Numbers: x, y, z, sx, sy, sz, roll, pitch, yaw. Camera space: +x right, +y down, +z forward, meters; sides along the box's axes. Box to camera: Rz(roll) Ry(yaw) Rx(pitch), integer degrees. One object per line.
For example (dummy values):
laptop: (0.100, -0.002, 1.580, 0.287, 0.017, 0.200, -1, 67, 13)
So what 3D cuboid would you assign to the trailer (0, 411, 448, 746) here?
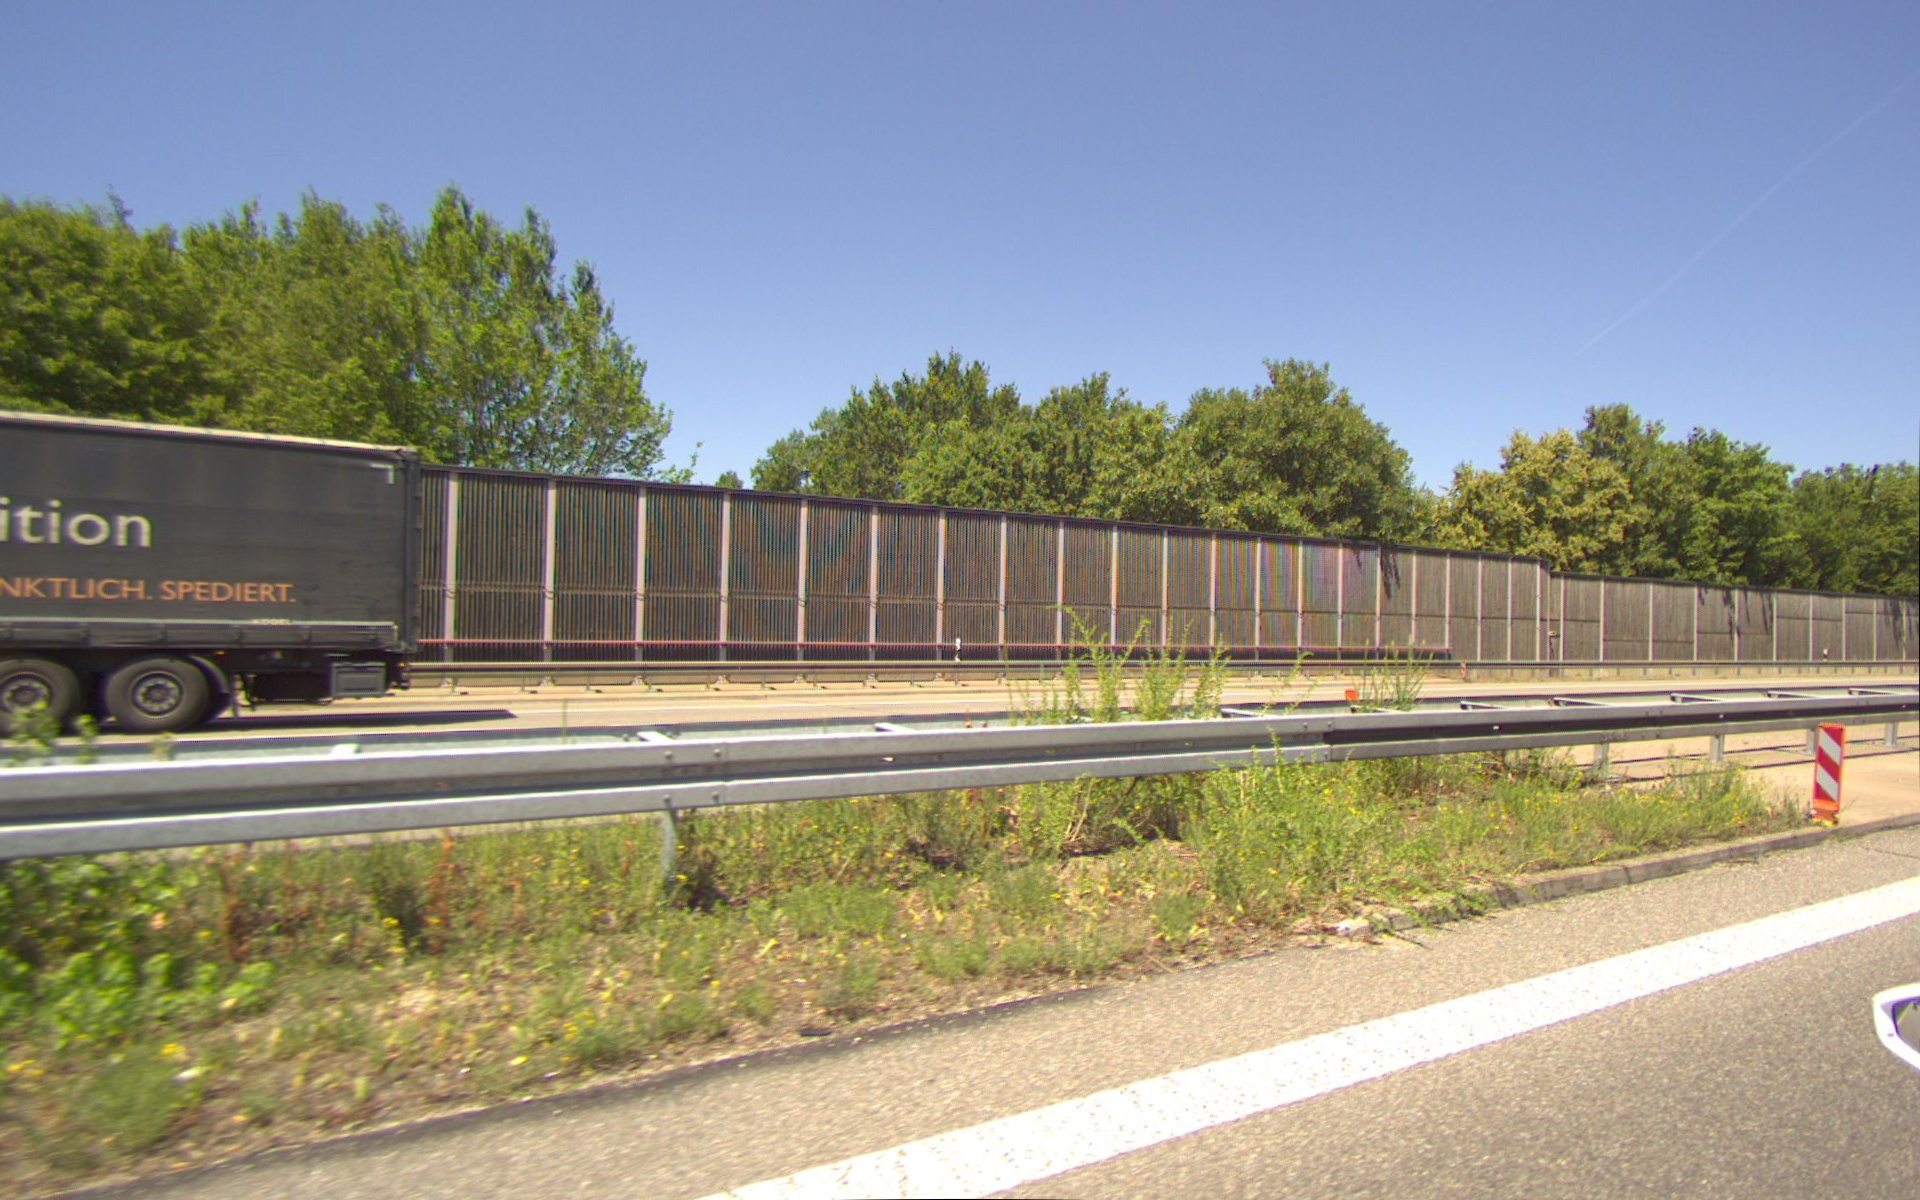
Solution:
trailer: (-14.158, -0.257, 12.503, 13.709, 4.060, 3.104, 2, -3, -30)
